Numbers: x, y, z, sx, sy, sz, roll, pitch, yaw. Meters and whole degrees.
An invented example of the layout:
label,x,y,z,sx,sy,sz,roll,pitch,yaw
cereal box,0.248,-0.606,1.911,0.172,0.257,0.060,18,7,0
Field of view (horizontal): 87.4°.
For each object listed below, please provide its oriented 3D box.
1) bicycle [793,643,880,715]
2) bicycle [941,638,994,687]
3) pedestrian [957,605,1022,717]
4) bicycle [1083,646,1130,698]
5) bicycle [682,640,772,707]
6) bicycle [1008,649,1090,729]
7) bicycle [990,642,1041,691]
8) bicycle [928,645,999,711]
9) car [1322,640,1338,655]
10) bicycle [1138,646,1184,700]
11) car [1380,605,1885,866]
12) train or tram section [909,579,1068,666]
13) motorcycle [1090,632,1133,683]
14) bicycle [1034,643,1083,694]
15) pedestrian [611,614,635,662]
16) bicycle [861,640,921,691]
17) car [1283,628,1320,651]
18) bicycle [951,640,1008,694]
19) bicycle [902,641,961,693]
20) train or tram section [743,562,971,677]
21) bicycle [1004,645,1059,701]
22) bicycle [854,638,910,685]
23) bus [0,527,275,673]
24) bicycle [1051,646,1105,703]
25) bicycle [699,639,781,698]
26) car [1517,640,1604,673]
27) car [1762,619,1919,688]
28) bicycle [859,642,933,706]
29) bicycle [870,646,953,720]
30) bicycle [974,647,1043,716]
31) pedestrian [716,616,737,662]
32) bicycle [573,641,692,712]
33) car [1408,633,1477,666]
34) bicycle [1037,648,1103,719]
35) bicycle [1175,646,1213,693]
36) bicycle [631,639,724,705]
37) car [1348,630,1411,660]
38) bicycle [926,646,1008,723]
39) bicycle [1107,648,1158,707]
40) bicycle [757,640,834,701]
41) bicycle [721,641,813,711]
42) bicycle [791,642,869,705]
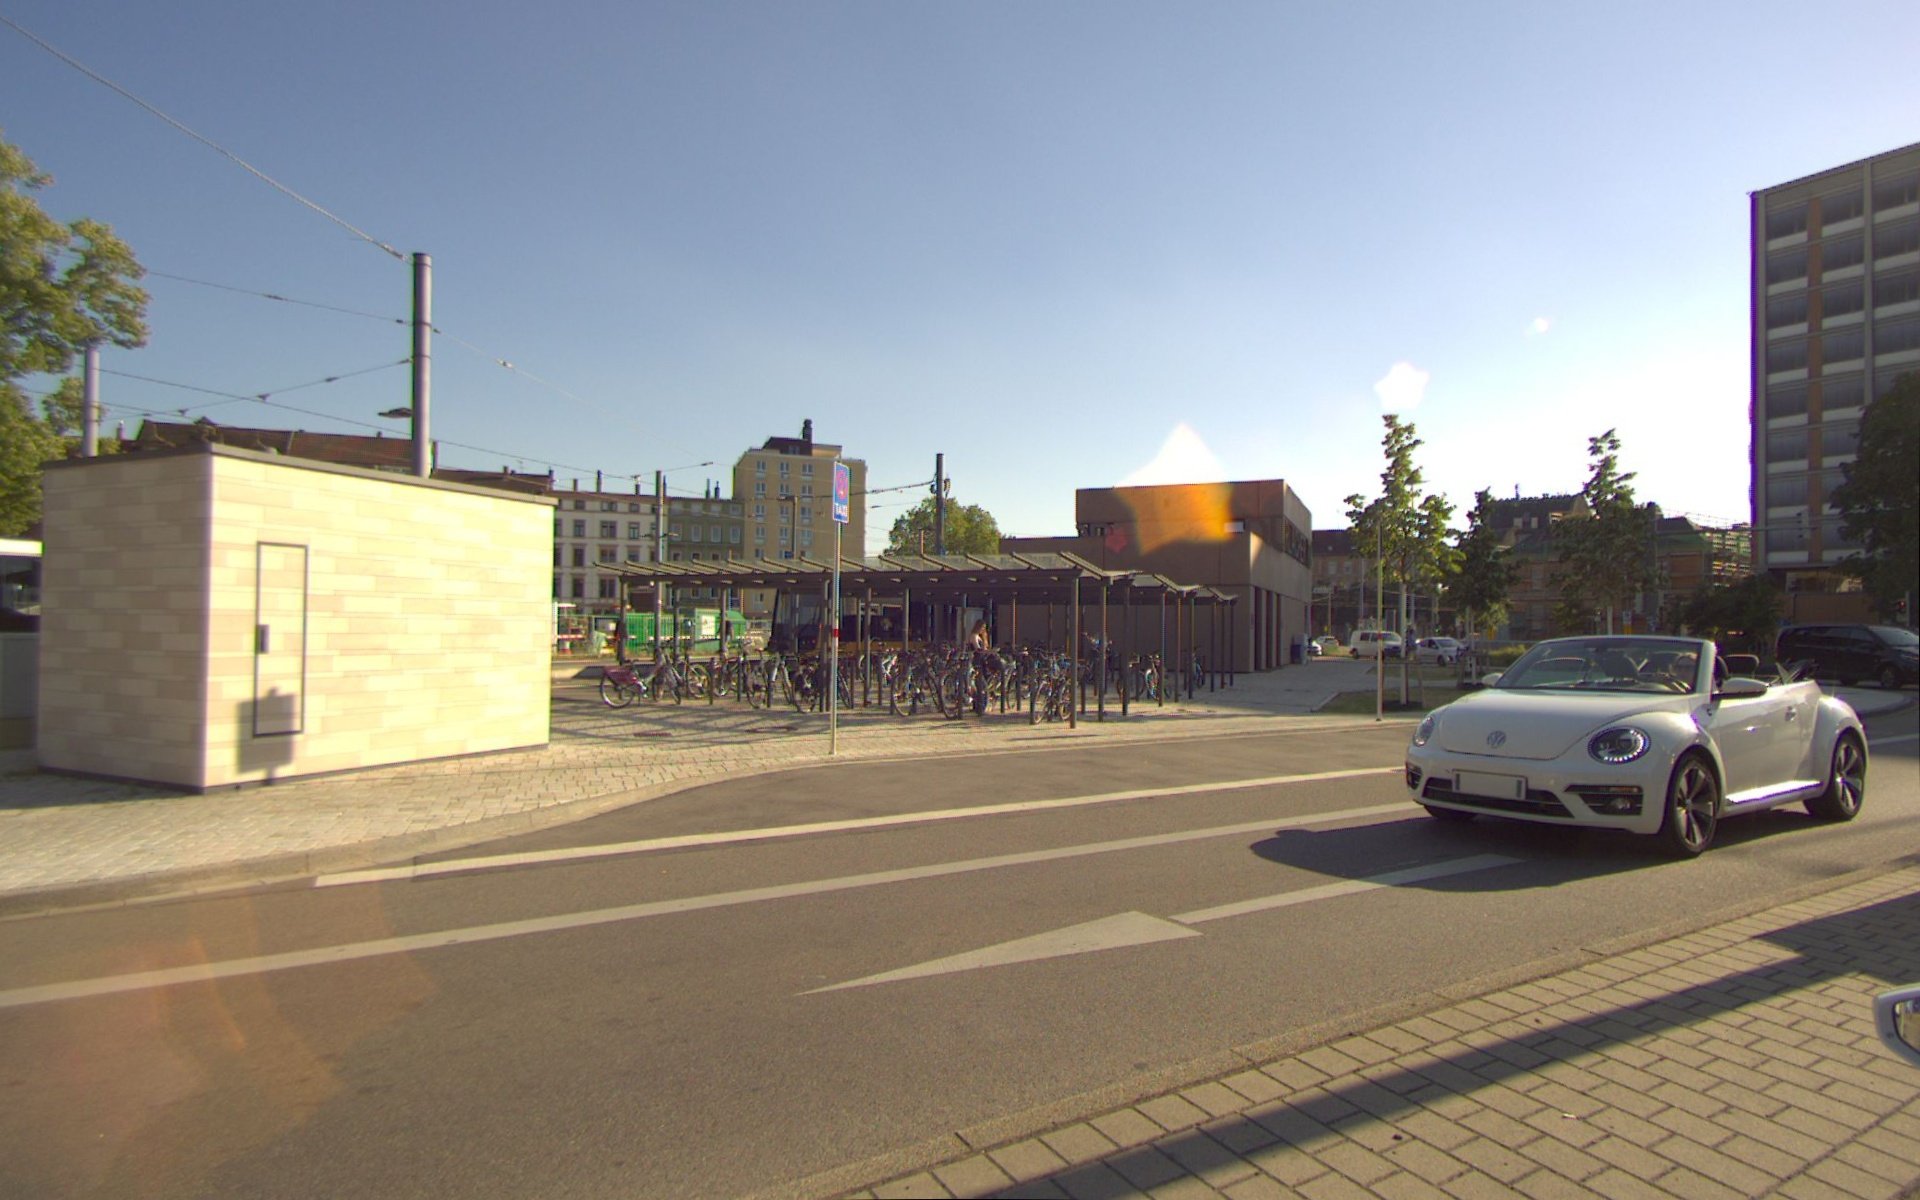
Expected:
label,x,y,z,sx,sy,sz,roll,pitch,yaw
bicycle,-2.124,1.343,17.551,0.597,1.129,1.896,2,-1,24
bicycle,0.209,1.550,25.309,0.597,1.129,1.896,2,-1,24
pedestrian,0.528,1.050,17.738,0.886,1.893,0.687,2,0,24
bicycle,3.467,1.666,23.637,0.597,1.129,1.896,2,-1,24
bicycle,-4.307,1.334,18.705,0.597,1.129,1.896,2,-1,24
bicycle,1.435,1.369,15.878,0.597,1.129,1.895,2,-1,26
bicycle,1.378,1.615,24.801,0.597,1.129,1.896,2,-1,24
bicycle,0.095,1.437,18.905,0.597,1.129,1.896,2,-1,24
car,42.393,5.411,115.105,1.617,1.581,3.601,0,-2,19
bicycle,4.629,1.651,23.031,0.597,1.129,1.896,2,-1,24
car,5.290,0.879,7.803,3.955,1.550,1.790,1,-3,-32
train or tram section,1.770,1.121,49.325,2.965,3.644,12.189,2,-1,26
motorcycle,4.474,1.662,29.578,0.753,1.408,1.896,2,-1,23
bicycle,2.394,1.627,24.245,0.597,1.129,1.896,2,-1,24
pedestrian,-12.581,1.413,37.469,0.627,1.772,0.572,0,-1,10
bicycle,-1.632,1.546,24.085,0.597,1.129,1.896,2,-1,24
car,24.625,2.855,72.558,1.617,1.581,3.601,0,-2,2
bicycle,0.464,1.506,22.924,0.597,1.129,1.896,2,-1,24
bicycle,-0.649,1.541,23.449,0.597,1.129,1.896,2,-1,24
train or tram section,-3.362,0.772,38.257,2.835,3.644,12.193,2,-1,24
bicycle,1.618,1.595,22.375,0.597,1.129,1.896,2,-1,24
bicycle,-2.026,1.592,26.284,0.597,1.129,1.896,2,-1,24
bus,-21.695,-0.020,23.163,2.612,3.177,9.635,2,-1,26
bicycle,2.583,1.595,21.853,0.597,1.129,1.896,2,-1,24
bicycle,-4.534,1.385,20.853,0.597,1.129,1.895,2,-1,25
car,30.900,2.865,51.742,1.627,1.581,3.578,1,-2,-24
car,27.636,1.592,30.609,2.202,1.919,5.170,0,-2,-1
bicycle,-1.208,1.405,19.425,0.597,1.129,1.896,2,-1,24
bicycle,-0.790,1.367,16.984,0.597,1.129,1.896,2,-1,24
bicycle,0.910,1.451,18.291,0.597,1.129,1.896,2,-1,24
pedestrian,-9.066,1.515,39.026,0.627,1.772,0.572,0,-1,10
bicycle,-5.598,1.289,17.262,0.600,1.129,1.887,2,-1,41
car,24.292,2.489,50.688,1.613,1.581,3.599,1,-2,-3
bicycle,1.997,1.458,17.964,0.597,1.129,1.896,2,-1,24
bicycle,6.129,1.790,26.267,0.597,1.129,1.896,2,-1,24
bicycle,-5.312,1.332,19.042,0.597,1.129,1.896,2,-1,24
car,28.155,2.998,67.505,1.764,1.882,4.460,1,-2,-11
bicycle,0.143,1.343,16.465,0.597,1.129,1.896,2,-1,24
bicycle,3.676,1.615,21.292,0.597,1.129,1.896,2,-1,24
bicycle,-3.334,1.409,20.542,0.597,1.129,1.896,2,-1,24
bicycle,-3.401,1.320,17.842,0.597,1.129,1.896,2,-1,24
bicycle,-2.516,1.404,19.668,0.597,1.129,1.896,2,-1,24
